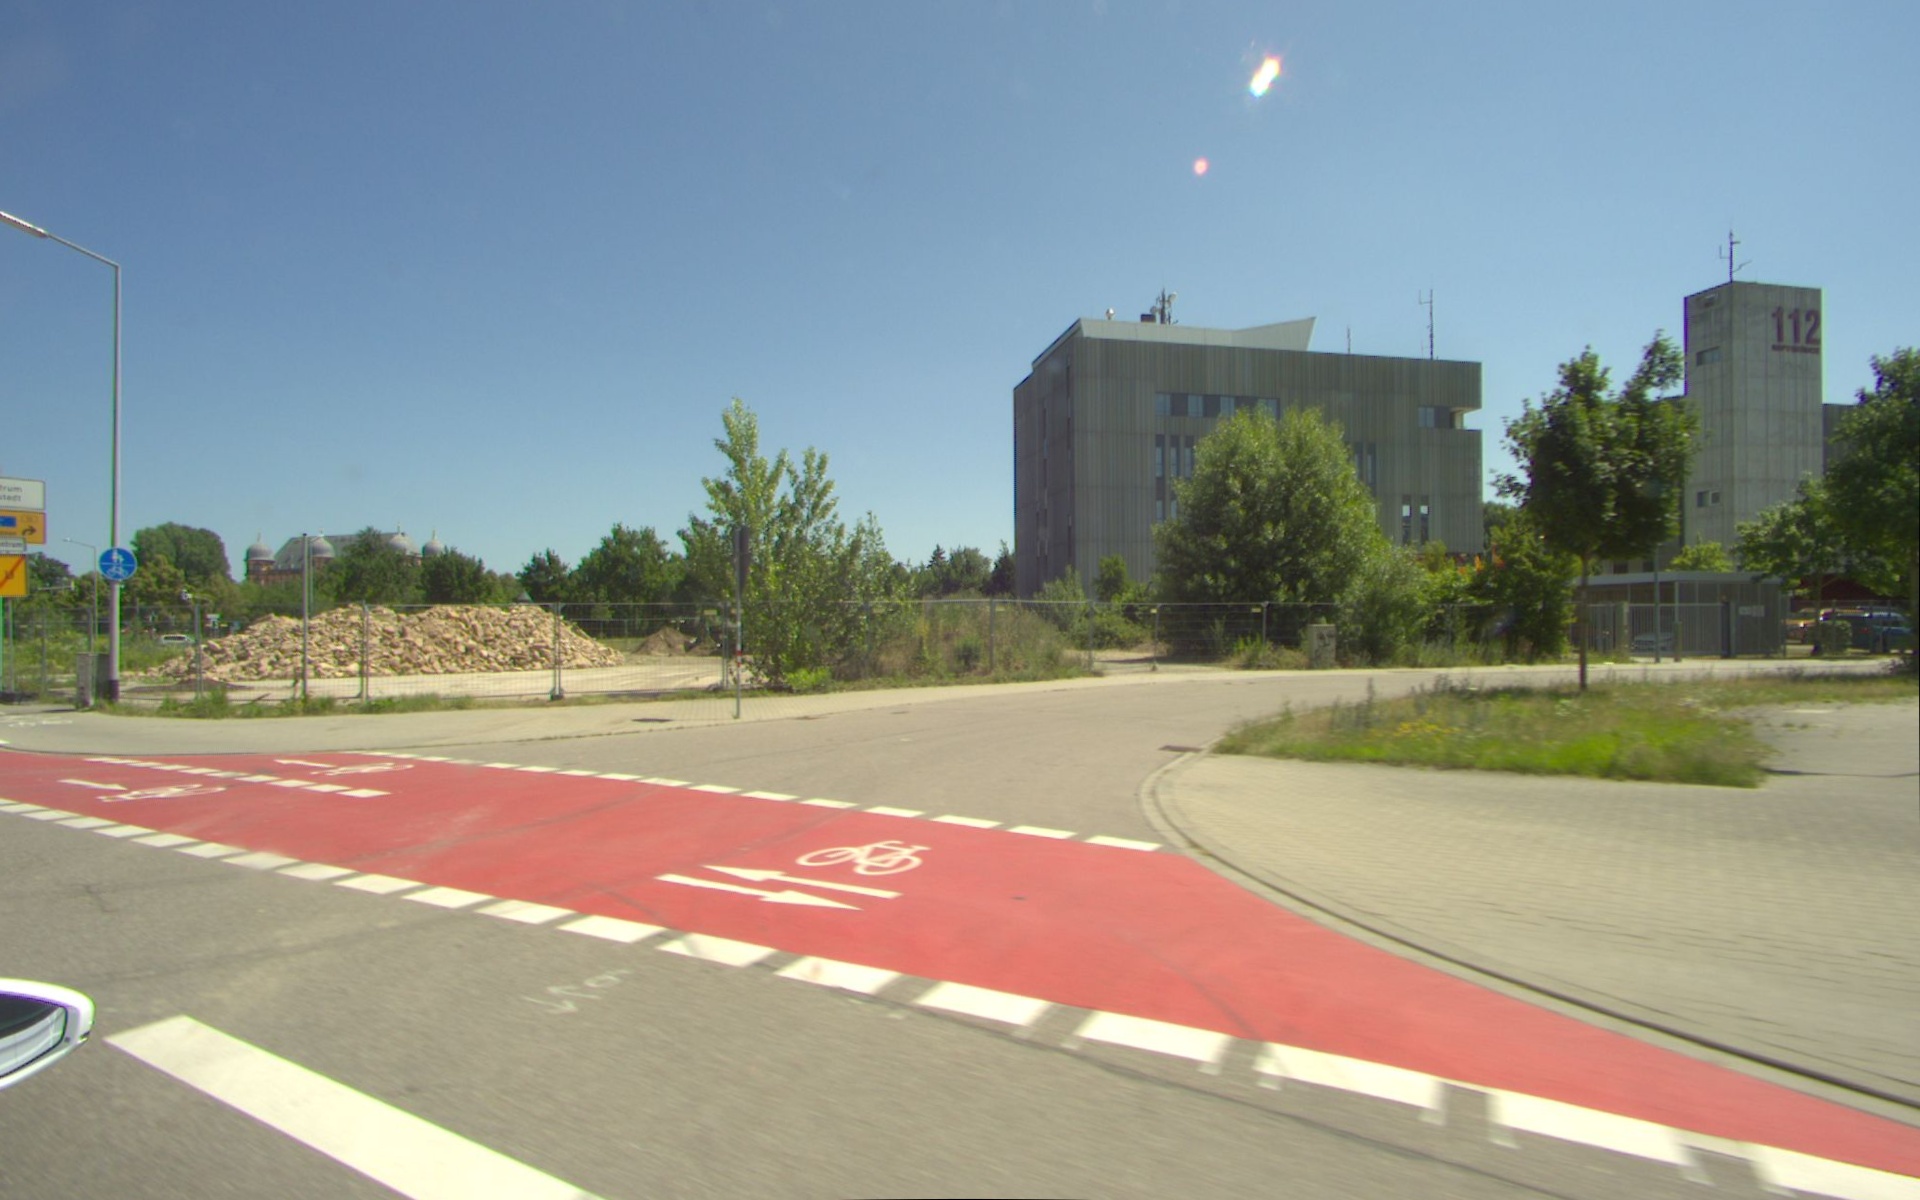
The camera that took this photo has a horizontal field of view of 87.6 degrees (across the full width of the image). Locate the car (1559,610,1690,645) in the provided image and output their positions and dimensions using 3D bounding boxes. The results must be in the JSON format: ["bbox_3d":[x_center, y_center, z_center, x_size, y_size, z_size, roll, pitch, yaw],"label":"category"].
[{"bbox_3d":[29.950,1.228,45.201,4.824,1.455,1.999,-1,0,-9],"label":"car"}]

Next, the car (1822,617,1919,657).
[{"bbox_3d":[37.619,1.485,40.934,3.927,1.510,1.653,-1,0,-15],"label":"car"}]

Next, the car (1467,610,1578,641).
[{"bbox_3d":[28.930,1.293,51.518,4.987,1.455,1.998,-1,0,-14],"label":"car"}]

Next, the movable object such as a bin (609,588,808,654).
[{"bbox_3d":[-13.841,1.176,54.759,10.324,3.302,4.928,-1,-1,34],"label":"movable object such as a bin"}]
